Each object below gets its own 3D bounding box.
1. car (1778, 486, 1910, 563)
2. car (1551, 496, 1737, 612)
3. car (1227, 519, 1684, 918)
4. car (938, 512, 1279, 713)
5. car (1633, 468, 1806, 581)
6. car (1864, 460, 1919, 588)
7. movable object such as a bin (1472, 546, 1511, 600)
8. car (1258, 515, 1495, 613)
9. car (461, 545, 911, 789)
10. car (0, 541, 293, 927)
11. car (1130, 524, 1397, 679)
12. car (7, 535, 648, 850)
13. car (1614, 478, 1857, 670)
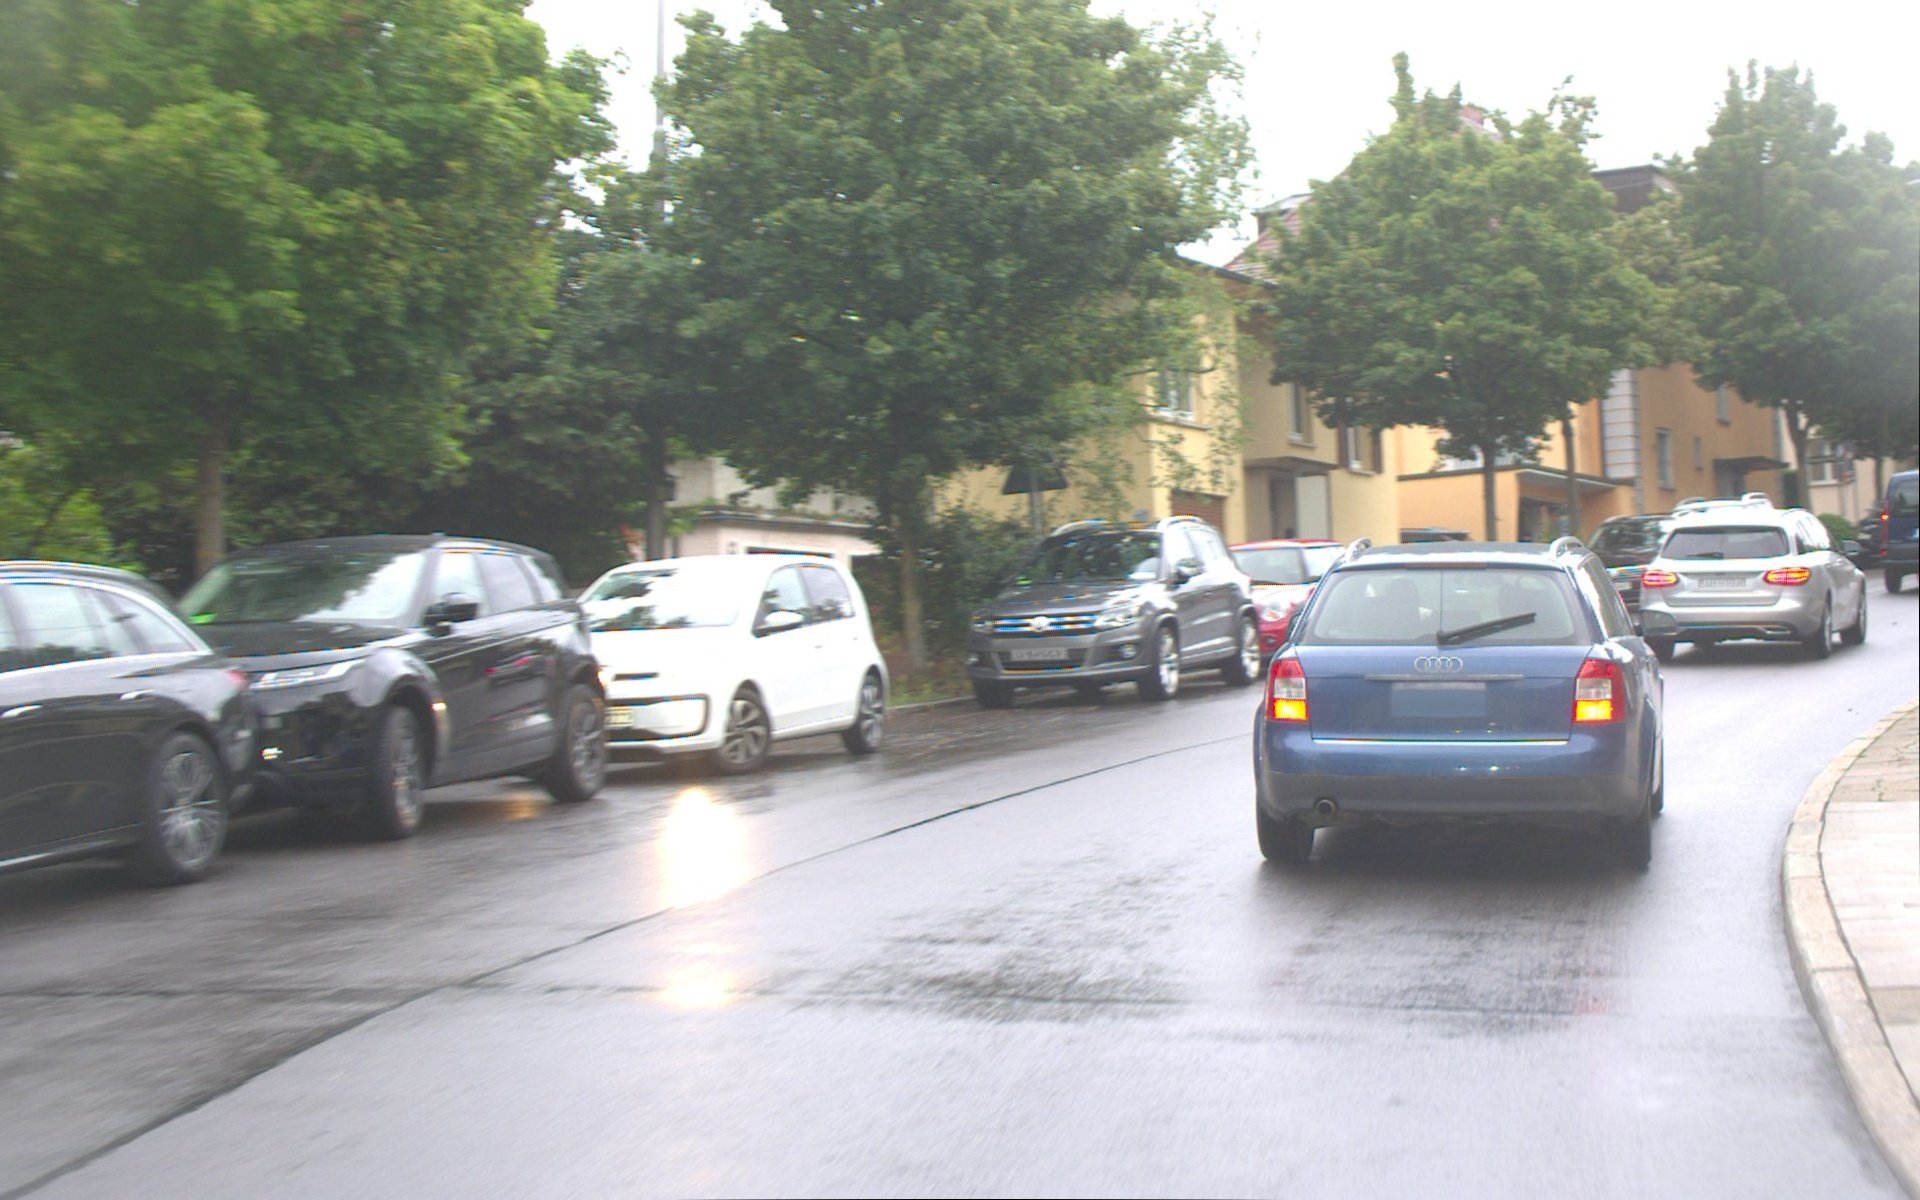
[{"bbox_3d":[19.014,-1.644,73.822,1.770,1.431,4.341,-5,0,27],"label":"car"},{"bbox_3d":[10.750,-0.748,53.816,1.770,1.530,4.600,-5,0,24],"label":"car"},{"bbox_3d":[2.449,0.457,16.175,1.734,1.461,3.998,-1,3,13],"label":"car"},{"bbox_3d":[1.486,0.067,32.358,1.803,1.663,4.421,-3,0,21],"label":"car"},{"bbox_3d":[13.033,-1.312,58.841,1.770,1.629,4.104,-7,0,27],"label":"car"},{"bbox_3d":[15.131,-1.205,52.502,1.736,1.762,4.230,-1,4,26],"label":"car"},{"bbox_3d":[10.476,-0.539,67.763,0.587,1.020,0.585,-2,1,24],"label":"movable object such as a bin"},{"bbox_3d":[7.995,-0.695,65.987,4.059,1.640,1.861,-3,0,27],"label":"car"},{"bbox_3d":[-1.784,0.404,23.762,1.735,1.461,3.997,-1,1,17],"label":"car"},{"bbox_3d":[-4.698,0.553,14.243,1.868,1.540,4.902,-1,1,14],"label":"car"},{"bbox_3d":[3.328,-0.017,37.055,1.684,1.466,3.861,-3,0,23],"label":"car"},{"bbox_3d":[-3.341,0.433,19.063,1.735,1.540,4.207,-1,1,17],"label":"car"},{"bbox_3d":[7.854,-0.307,34.536,1.977,1.629,4.232,-1,3,18],"label":"car"}]
